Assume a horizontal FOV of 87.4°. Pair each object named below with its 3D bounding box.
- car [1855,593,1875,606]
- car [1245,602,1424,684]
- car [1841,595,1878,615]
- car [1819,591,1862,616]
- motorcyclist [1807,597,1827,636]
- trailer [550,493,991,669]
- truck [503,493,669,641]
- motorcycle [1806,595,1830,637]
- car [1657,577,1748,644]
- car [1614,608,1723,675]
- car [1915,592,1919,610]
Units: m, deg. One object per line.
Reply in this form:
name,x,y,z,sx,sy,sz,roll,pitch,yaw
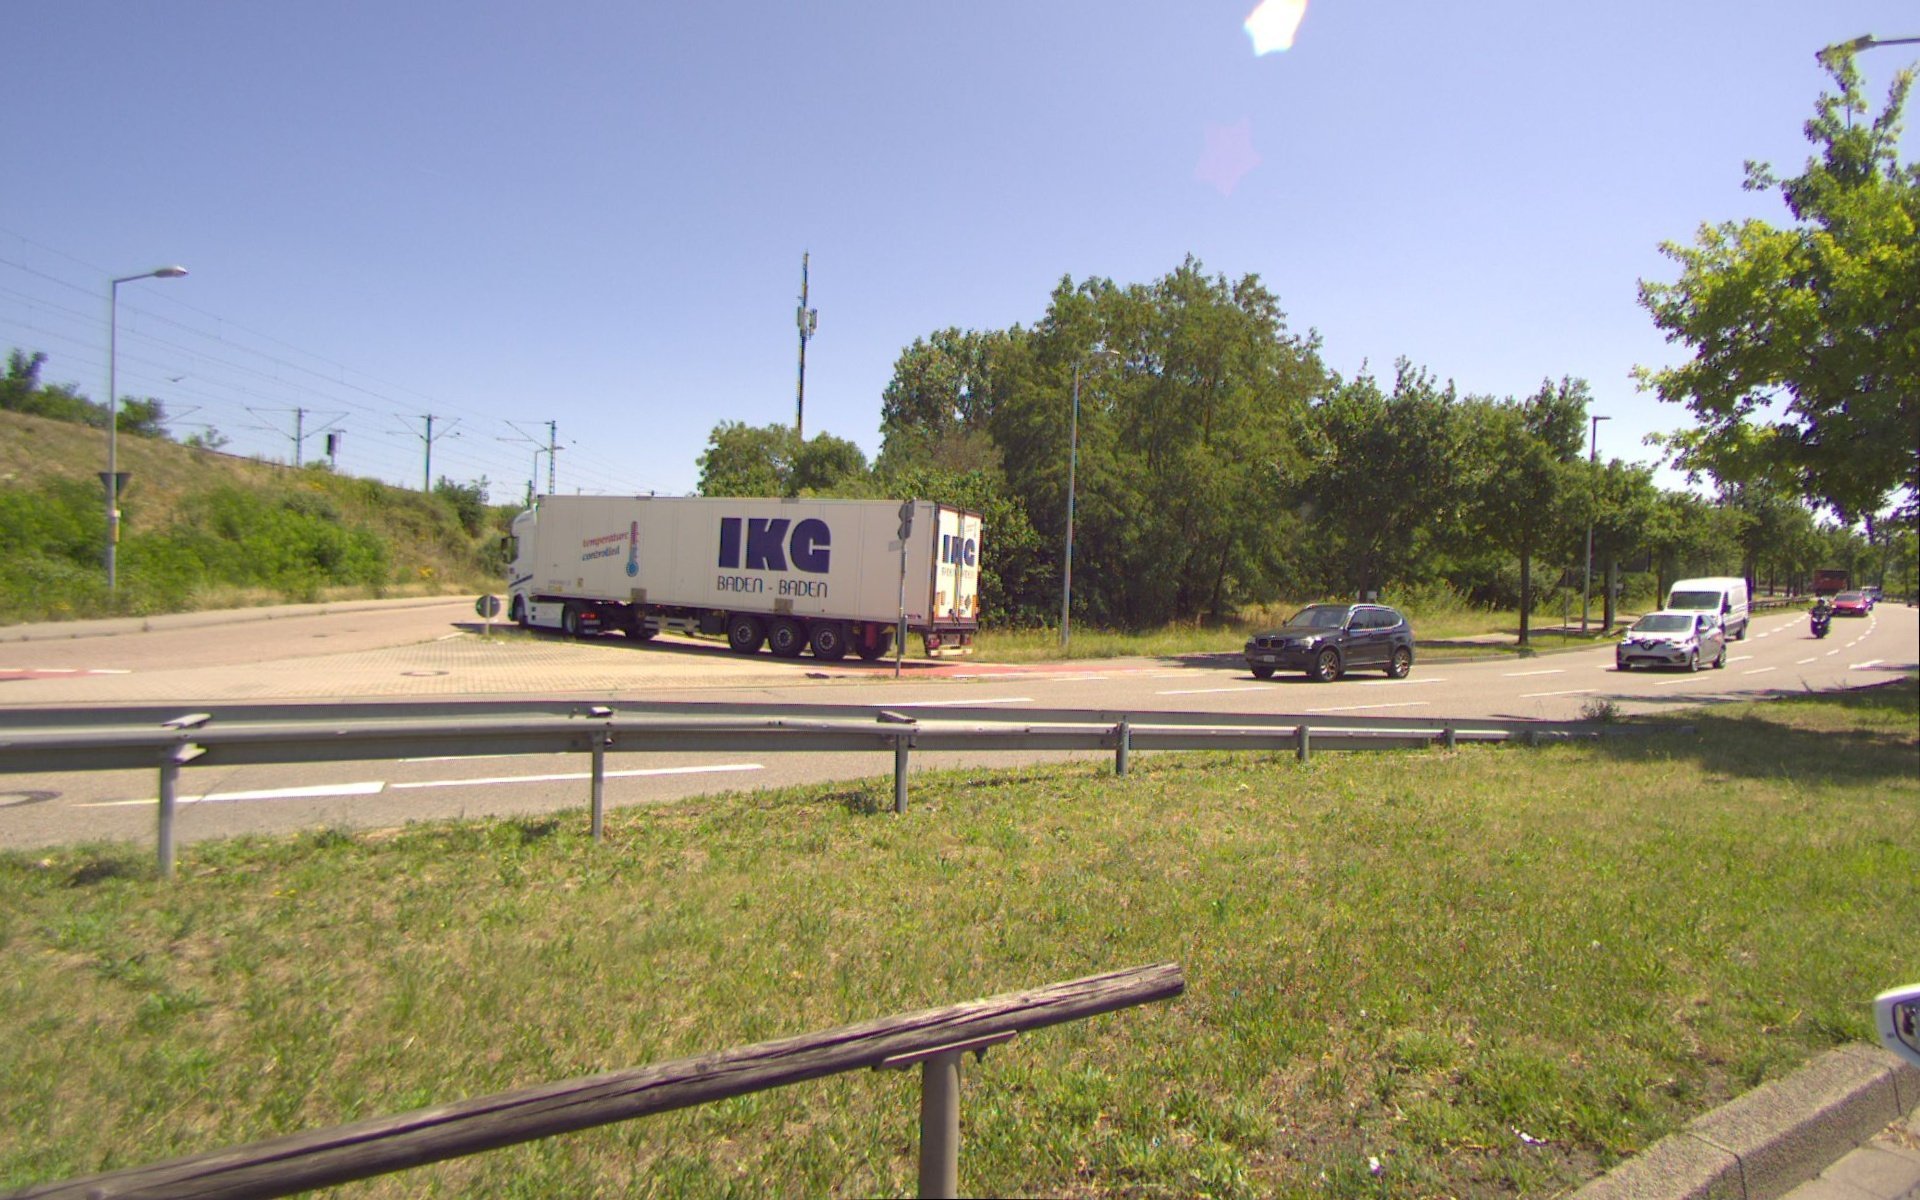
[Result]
car,89.874,-0.027,99.749,1.305,1.154,2.982,2,0,39
car,8.430,0.927,22.463,4.428,1.654,1.479,1,0,-35
car,67.454,0.395,75.300,1.791,1.351,4.540,2,0,45
car,56.082,0.263,63.948,1.812,1.456,4.498,-1,-2,44
motorcyclist,36.566,0.695,42.850,0.559,1.648,0.581,1,0,-45
trailer,-5.474,-0.486,27.510,12.464,4.104,3.019,0,1,25
truck,-11.585,-0.944,30.773,2.534,4.075,6.189,1,0,-43
motorcycle,36.630,0.689,42.883,0.591,1.700,2.411,2,0,44
car,30.292,0.373,40.926,5.769,2.534,2.074,-1,0,-44
car,19.032,1.042,26.924,4.043,1.588,1.619,-1,0,-43
car,78.717,0.106,81.619,1.401,1.331,3.321,2,0,40
